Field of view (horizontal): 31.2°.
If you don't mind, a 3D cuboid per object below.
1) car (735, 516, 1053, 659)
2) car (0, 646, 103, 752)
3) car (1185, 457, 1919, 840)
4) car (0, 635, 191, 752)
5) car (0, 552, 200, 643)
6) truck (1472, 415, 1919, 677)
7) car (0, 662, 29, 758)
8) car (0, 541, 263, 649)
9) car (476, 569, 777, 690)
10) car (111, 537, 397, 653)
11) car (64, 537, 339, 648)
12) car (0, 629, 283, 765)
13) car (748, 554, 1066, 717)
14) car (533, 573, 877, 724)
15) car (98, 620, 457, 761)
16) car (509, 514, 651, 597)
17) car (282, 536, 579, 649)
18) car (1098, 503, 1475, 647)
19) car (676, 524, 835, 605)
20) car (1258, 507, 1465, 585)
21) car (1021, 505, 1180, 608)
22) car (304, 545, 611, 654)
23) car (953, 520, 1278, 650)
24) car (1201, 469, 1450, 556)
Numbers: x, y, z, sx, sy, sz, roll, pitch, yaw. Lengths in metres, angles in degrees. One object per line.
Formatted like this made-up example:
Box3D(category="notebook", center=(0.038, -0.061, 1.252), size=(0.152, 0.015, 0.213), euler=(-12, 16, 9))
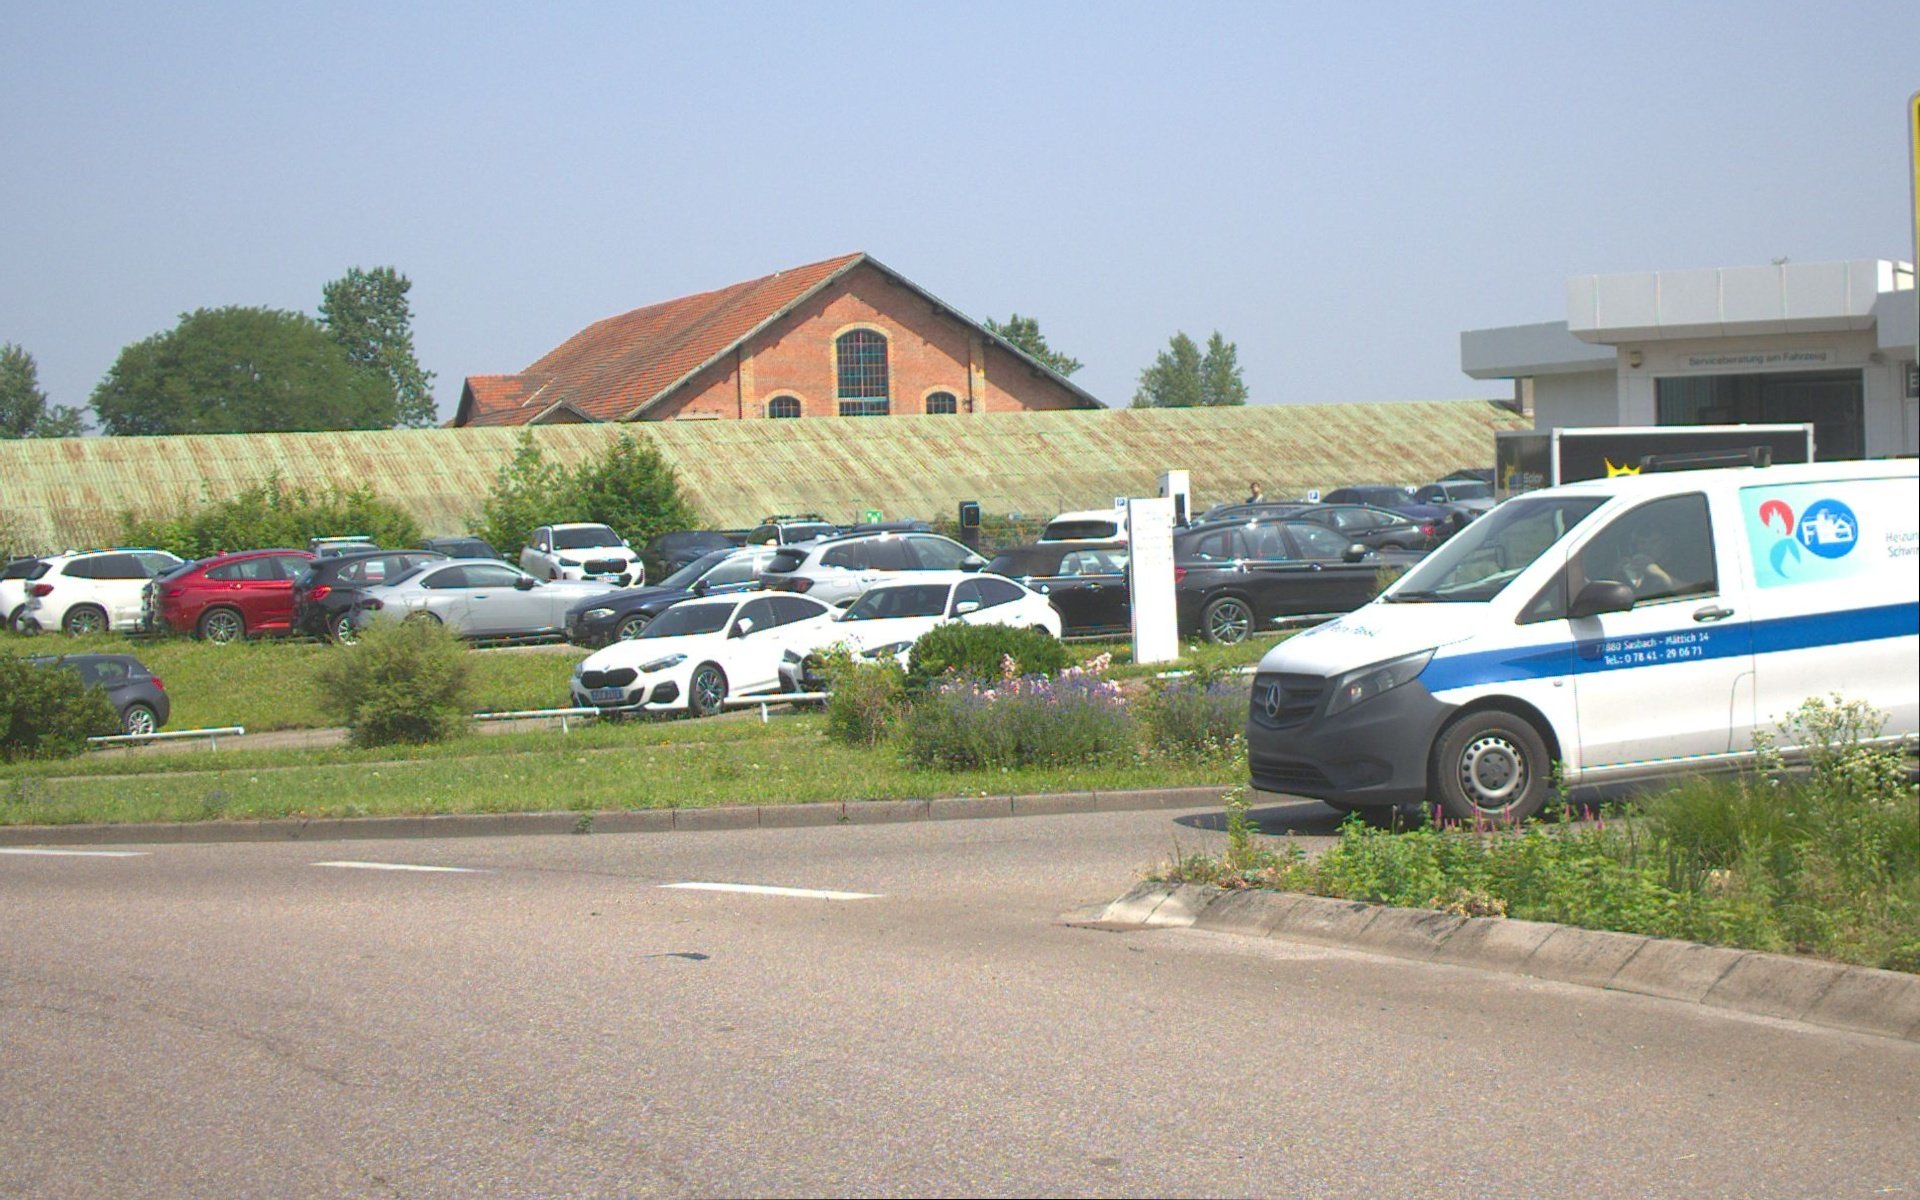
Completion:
Box3D(category="car", center=(-0.943, -0.198, 48.949), size=(3.995, 1.744, 1.950), euler=(-4, 2, -22))
Box3D(category="car", center=(-15.341, 1.630, 51.526), size=(1.921, 1.460, 4.425), euler=(-5, 0, 41))
Box3D(category="car", center=(4.055, 0.224, 19.284), size=(5.211, 1.931, 1.861), euler=(-1, -1, -16))
Box3D(category="car", center=(-13.474, 1.417, 49.362), size=(4.250, 1.407, 1.922), euler=(-5, 0, -41))
Box3D(category="car", center=(-16.511, -0.059, 64.978), size=(3.874, 1.527, 1.769), euler=(-3, 1, -22))
Box3D(category="truck", center=(8.740, -0.644, 38.312), size=(5.607, 2.655, 1.950), euler=(-3, 1, -16))
Box3D(category="car", center=(-16.937, 1.889, 53.460), size=(4.250, 1.460, 1.873), euler=(-4, -1, -41))
Box3D(category="car", center=(-15.214, -0.105, 62.975), size=(4.452, 1.741, 1.839), euler=(-3, 1, -22))
Box3D(category="car", center=(-4.859, 0.408, 49.916), size=(3.994, 1.521, 1.950), euler=(-3, 1, -16))
Box3D(category="car", center=(-12.081, -0.099, 58.827), size=(4.452, 1.741, 1.950), euler=(-3, 1, -22))
Box3D(category="car", center=(-13.431, -0.151, 60.874), size=(4.452, 1.741, 1.839), euler=(-3, 1, -22))
Box3D(category="car", center=(-11.640, 1.332, 47.097), size=(1.921, 1.477, 4.253), euler=(-5, 0, 40))
Box3D(category="car", center=(-0.573, 0.402, 42.061), size=(1.765, 1.565, 4.659), euler=(-2, 3, 28))
Box3D(category="car", center=(-3.126, 0.576, 43.139), size=(1.766, 1.565, 4.569), euler=(-3, 1, 34))
Box3D(category="car", center=(-8.901, 1.162, 45.211), size=(1.781, 1.416, 4.564), euler=(-5, 0, 35))
Box3D(category="car", center=(-7.925, -0.907, 71.380), size=(1.916, 1.590, 4.305), euler=(-3, 1, -20))
Box3D(category="car", center=(-8.763, -0.137, 56.873), size=(4.452, 1.629, 1.950), euler=(-3, 1, -22))
Box3D(category="car", center=(4.279, -0.322, 45.081), size=(4.411, 1.494, 1.950), euler=(-5, 1, -22))
Box3D(category="car", center=(-4.382, -0.751, 73.106), size=(2.187, 1.590, 4.305), euler=(-3, 1, -20))
Box3D(category="car", center=(7.234, -0.969, 62.051), size=(3.340, 1.271, 1.654), euler=(-1, 2, 43))
Box3D(category="car", center=(2.430, -0.760, 58.316), size=(1.654, 1.580, 4.265), euler=(-2, 2, 16))
Box3D(category="car", center=(-8.010, -0.029, 54.828), size=(4.452, 1.494, 1.950), euler=(-3, 2, -22))
Box3D(category="car", center=(2.152, -0.245, 47.793), size=(3.995, 1.494, 1.950), euler=(-4, 3, -22))
Box3D(category="car", center=(7.256, -1.732, 68.323), size=(4.452, 1.517, 1.950), euler=(-3, 1, -17))
